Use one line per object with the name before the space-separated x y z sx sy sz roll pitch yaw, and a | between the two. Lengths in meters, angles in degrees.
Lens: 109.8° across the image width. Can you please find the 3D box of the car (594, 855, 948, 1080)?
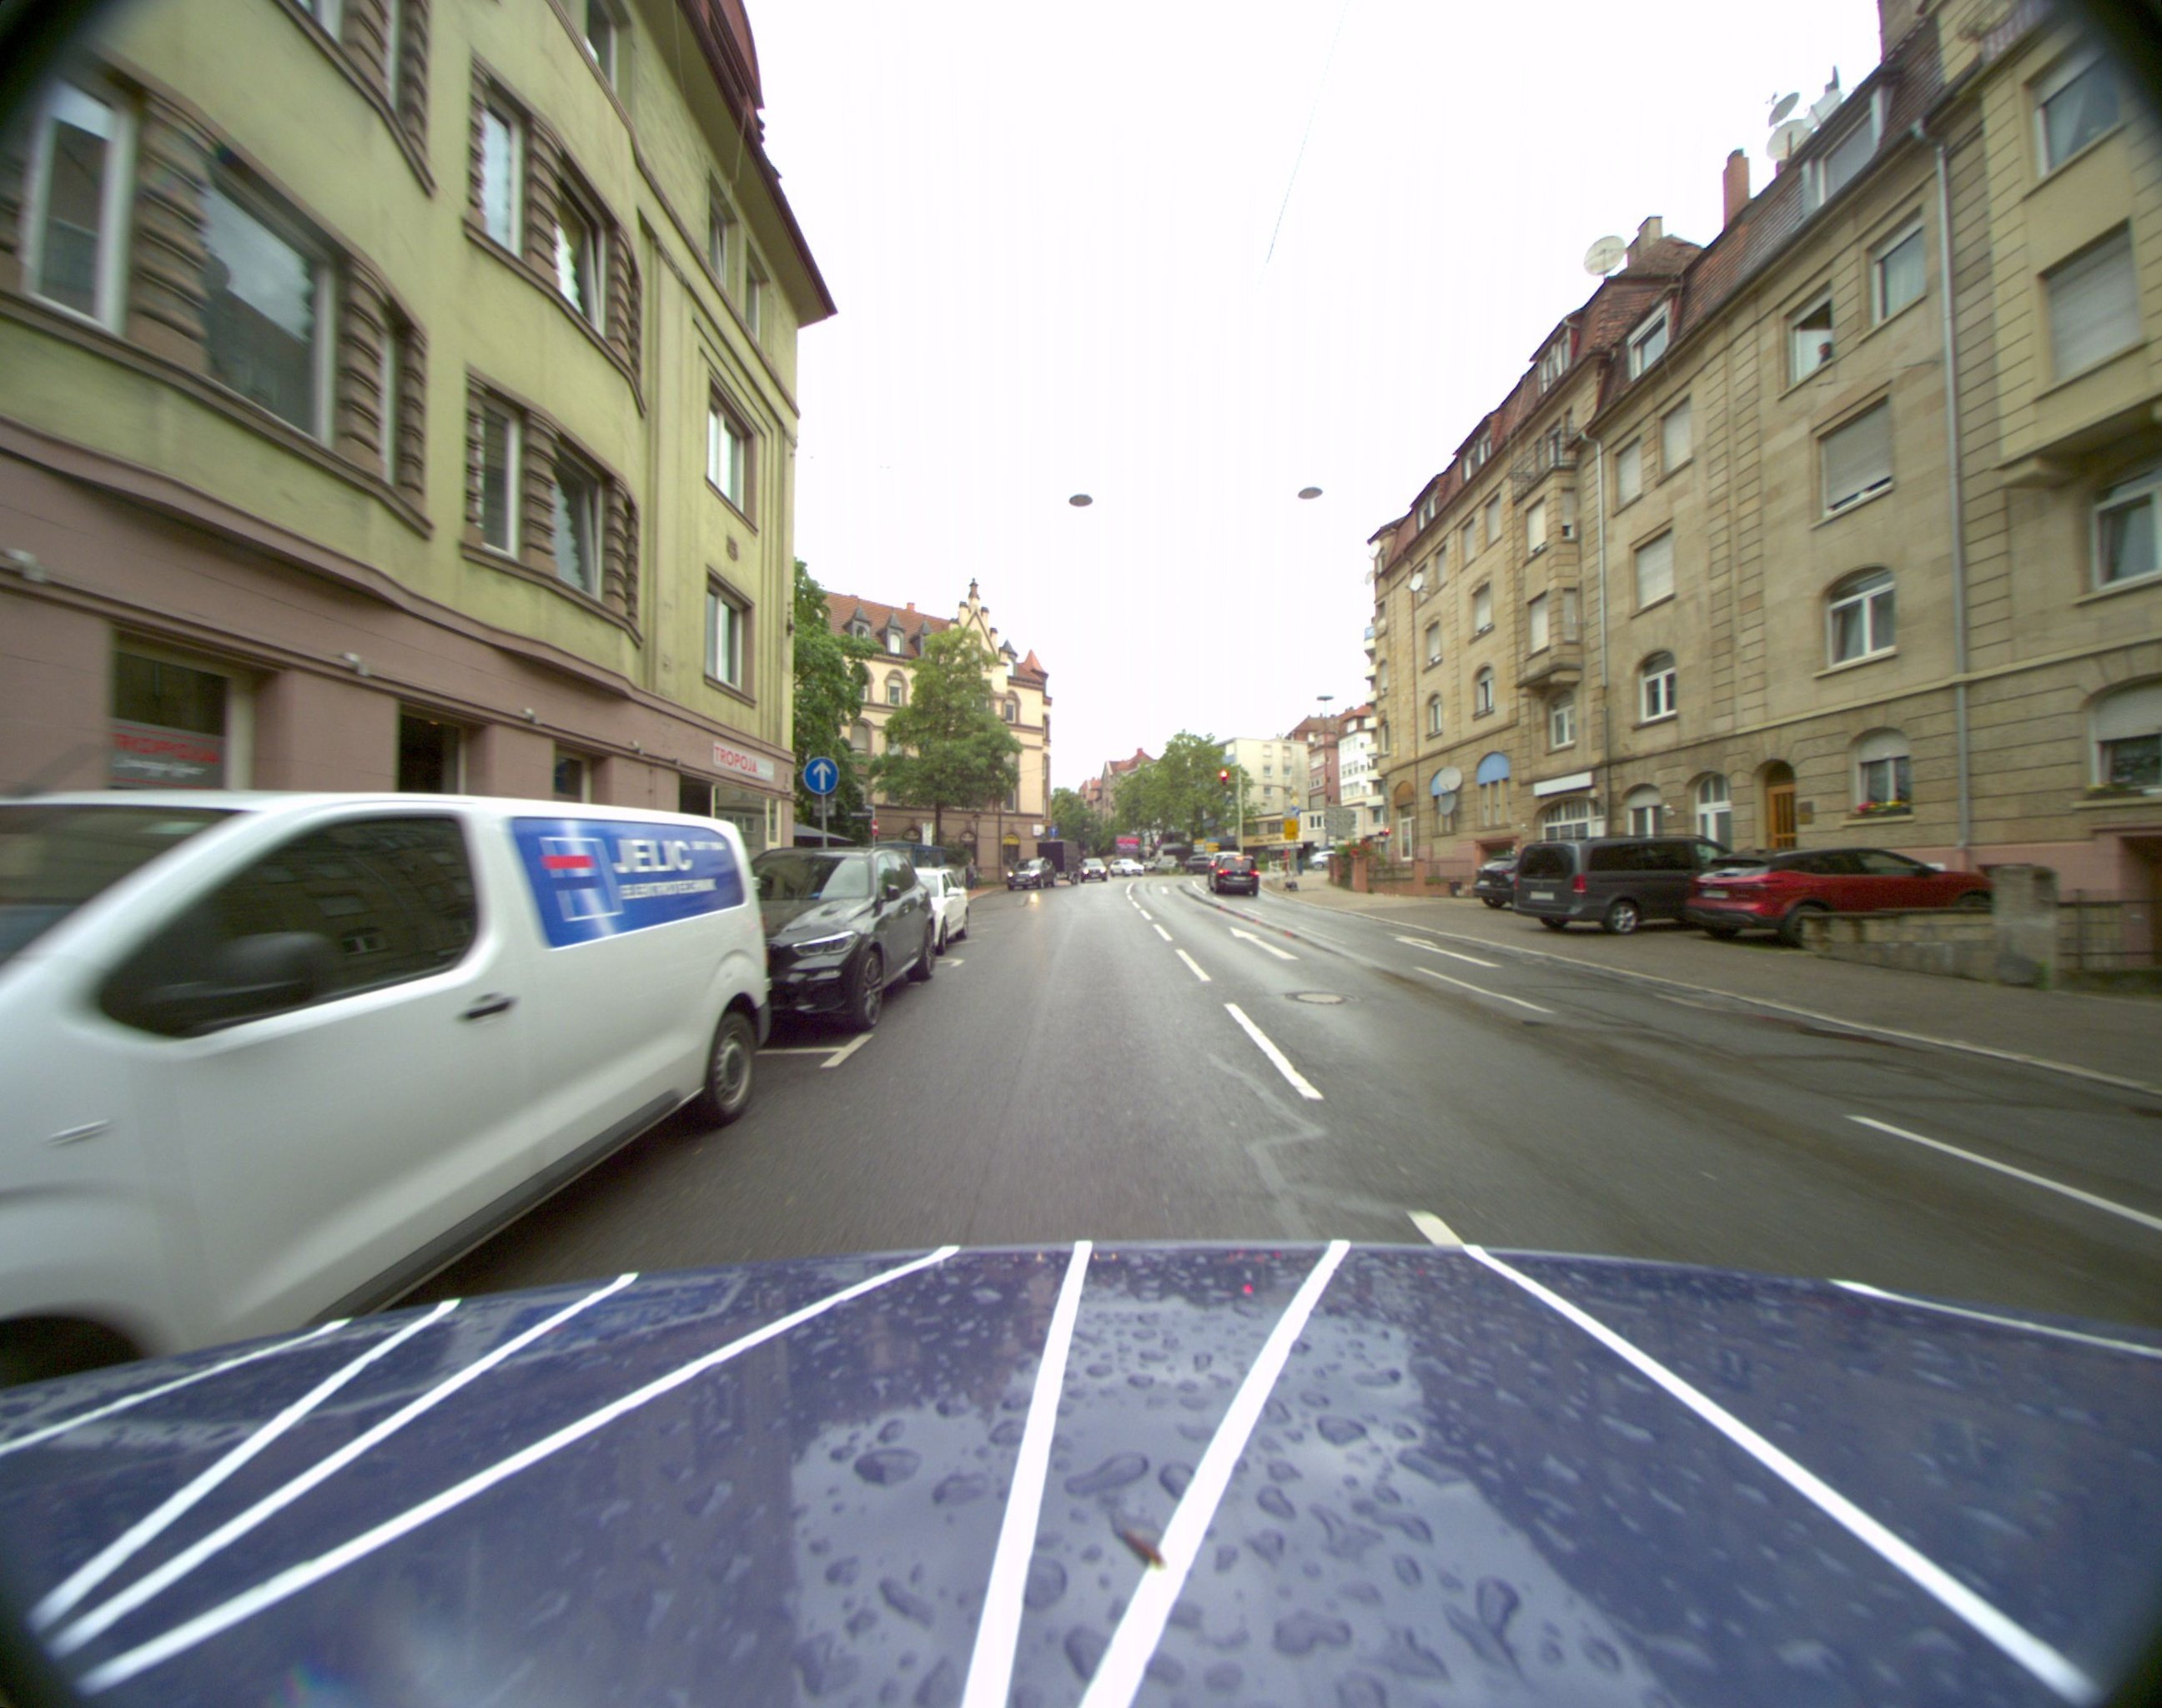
car | -2.851 0.892 8.305 1.883 1.721 4.676 1 0 1

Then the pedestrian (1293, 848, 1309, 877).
pedestrian | 13.098 0.495 45.246 0.638 1.692 0.829 -3 0 3

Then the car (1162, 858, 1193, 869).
car | 12.912 1.259 101.613 3.711 1.408 1.808 -3 1 -33

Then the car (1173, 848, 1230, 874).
car | 10.145 0.621 64.084 1.920 2.002 4.497 -3 1 -42

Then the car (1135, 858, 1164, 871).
car | 10.026 1.499 111.289 3.841 1.680 1.802 -2 1 -26

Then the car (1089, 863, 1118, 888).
car | 1.480 1.437 51.927 1.649 1.594 3.666 0 0 -4

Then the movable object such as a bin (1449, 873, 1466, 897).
movable object such as a bin | 15.152 1.258 30.616 0.476 0.944 0.417 -2 1 6

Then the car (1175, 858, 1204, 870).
car | 14.277 1.249 99.818 3.628 1.408 1.626 -3 1 -37

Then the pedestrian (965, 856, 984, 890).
pedestrian | -5.585 0.990 39.931 0.572 1.723 0.733 -2 0 28

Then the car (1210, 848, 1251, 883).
car | 7.919 0.574 40.634 1.968 1.683 4.810 -1 1 9

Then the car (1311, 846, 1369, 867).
car | 19.857 0.203 58.419 4.172 1.474 1.760 -2 0 16

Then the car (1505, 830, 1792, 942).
car | 11.453 0.601 15.478 4.689 1.927 1.862 -3 0 -9

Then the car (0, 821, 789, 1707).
car | -3.027 0.829 2.761 1.924 1.816 5.009 1 0 1

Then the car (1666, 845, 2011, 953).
car | 13.026 0.716 13.274 4.107 1.581 1.897 -3 1 0

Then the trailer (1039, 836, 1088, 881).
trailer | -1.001 0.271 46.607 1.936 2.621 4.688 0 0 13

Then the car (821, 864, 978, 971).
car | -3.162 1.027 14.195 1.803 1.555 4.492 -2 0 0

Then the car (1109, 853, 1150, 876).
car | 4.458 0.939 70.847 1.918 2.002 4.447 -2 0 -24

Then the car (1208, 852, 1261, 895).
car | 6.506 0.776 32.586 1.624 1.639 4.421 2 0 4

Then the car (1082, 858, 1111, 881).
car | 1.145 1.117 56.765 1.649 1.594 3.806 0 0 -7

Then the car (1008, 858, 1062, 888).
car | -2.374 0.974 40.282 1.860 1.503 3.686 0 0 13

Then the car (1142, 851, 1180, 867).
car | 11.223 0.695 106.430 4.983 1.966 1.876 -2 1 -28

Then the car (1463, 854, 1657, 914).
car | 13.114 0.799 21.006 4.157 1.502 1.873 -1 0 1

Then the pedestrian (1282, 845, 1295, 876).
pedestrian | 12.034 0.350 44.081 0.523 1.763 0.694 -3 0 7
